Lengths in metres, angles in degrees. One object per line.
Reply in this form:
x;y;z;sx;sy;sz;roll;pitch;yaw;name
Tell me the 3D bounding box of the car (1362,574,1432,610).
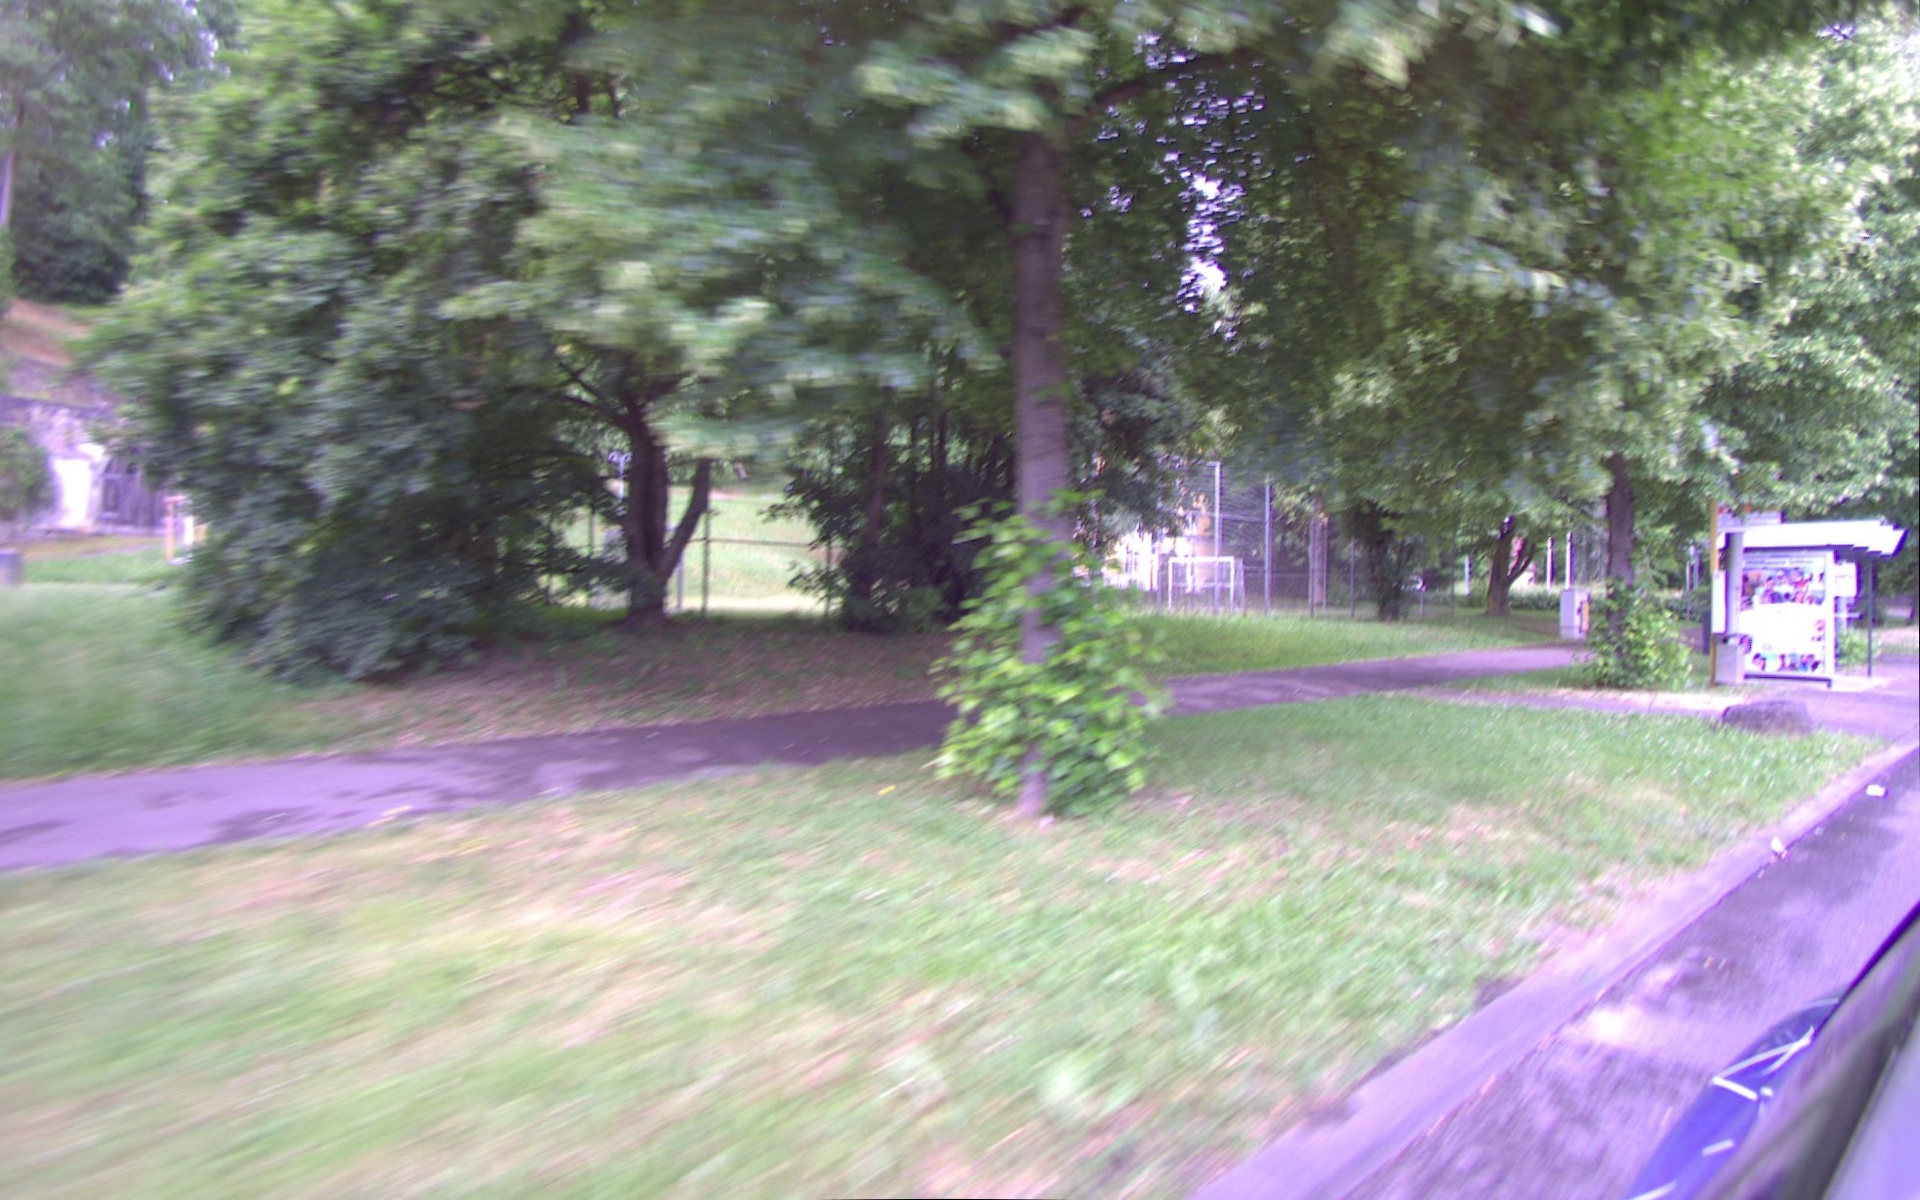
23.842;-0.421;55.164;3.931;1.671;1.998;3;2;-42;car
